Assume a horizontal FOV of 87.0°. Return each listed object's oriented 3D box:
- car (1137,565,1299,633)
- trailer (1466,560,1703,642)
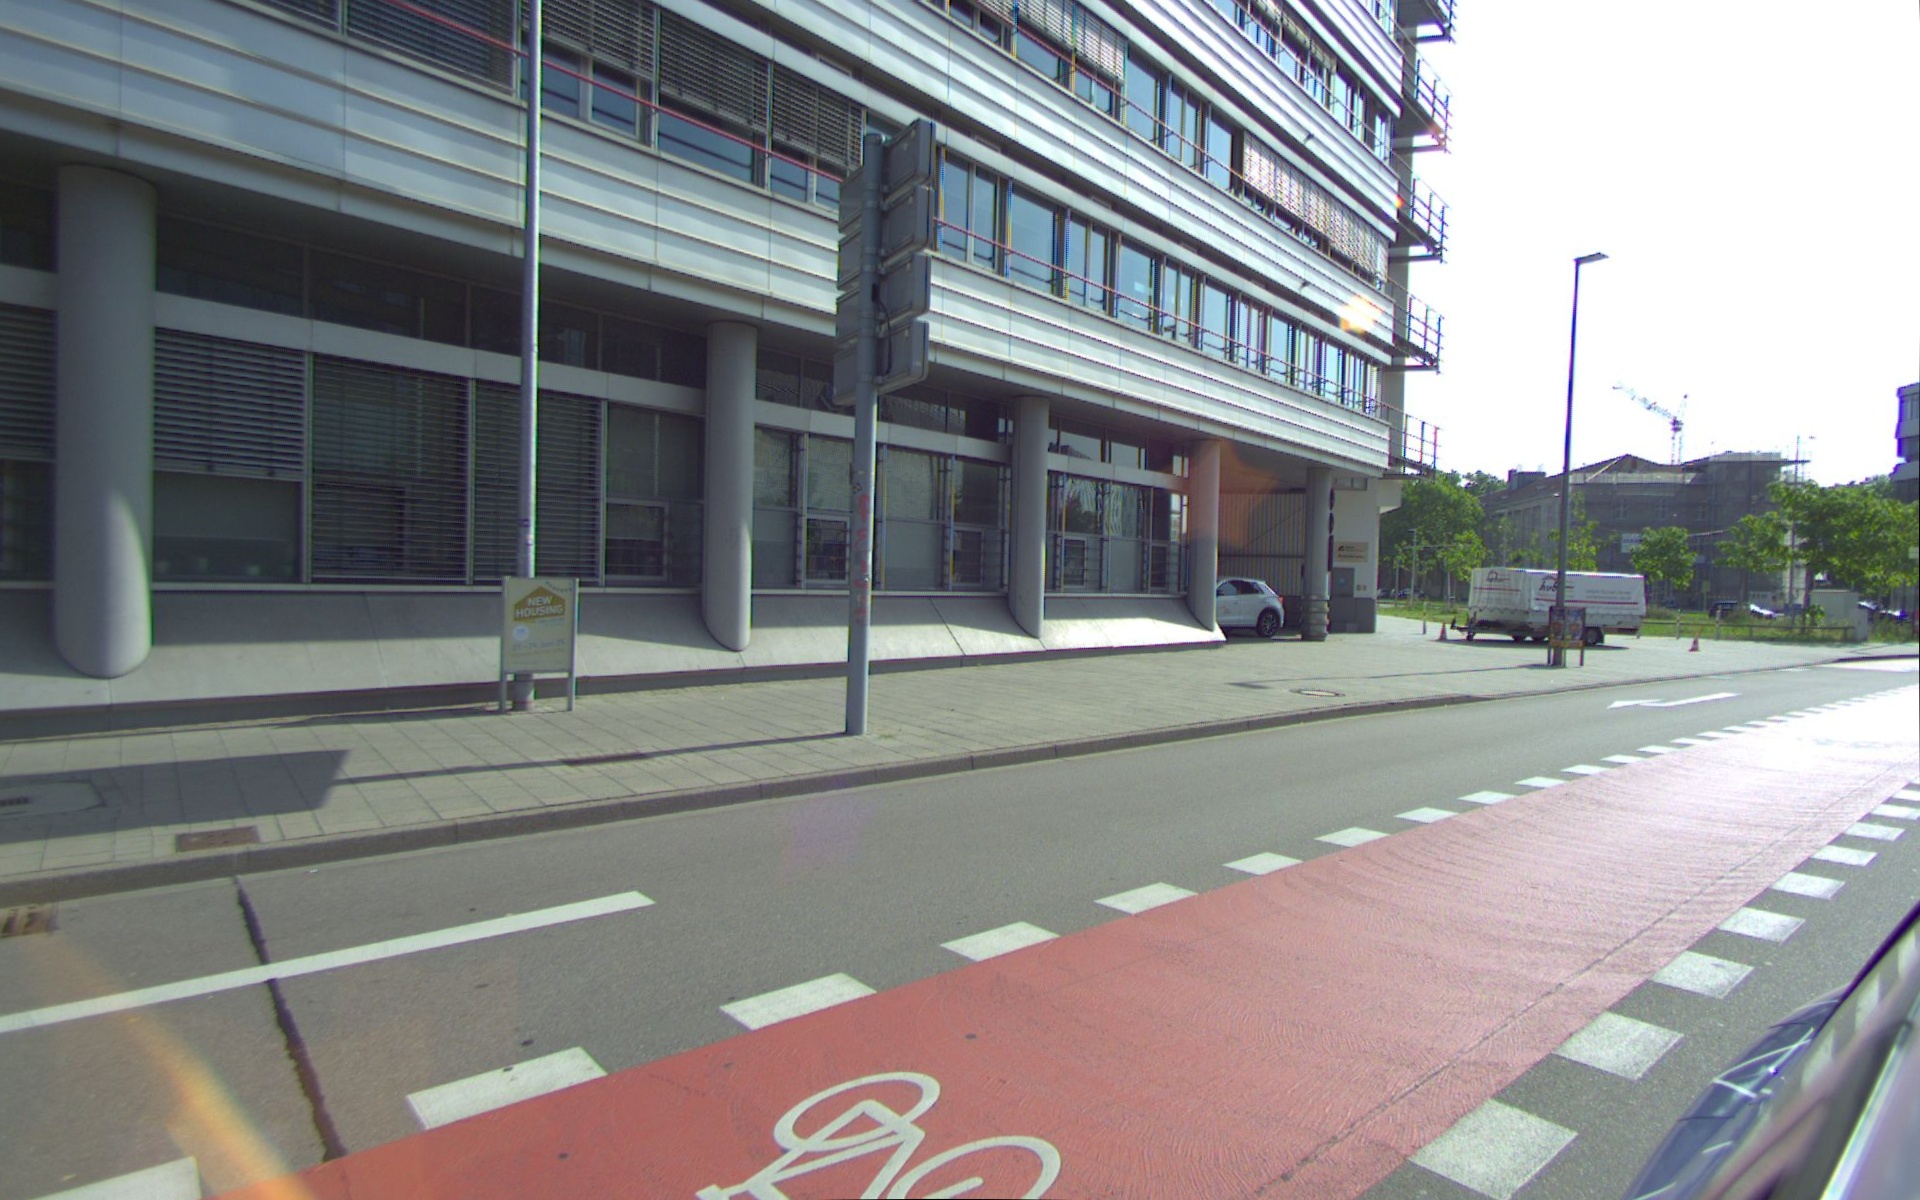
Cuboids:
[{"bbox_3d":[6.705,-0.017,26.175,3.920,1.609,1.752,2,1,-31],"label":"car"},{"bbox_3d":[18.141,0.019,29.481,5.824,2.178,2.402,1,1,-14],"label":"trailer"}]
